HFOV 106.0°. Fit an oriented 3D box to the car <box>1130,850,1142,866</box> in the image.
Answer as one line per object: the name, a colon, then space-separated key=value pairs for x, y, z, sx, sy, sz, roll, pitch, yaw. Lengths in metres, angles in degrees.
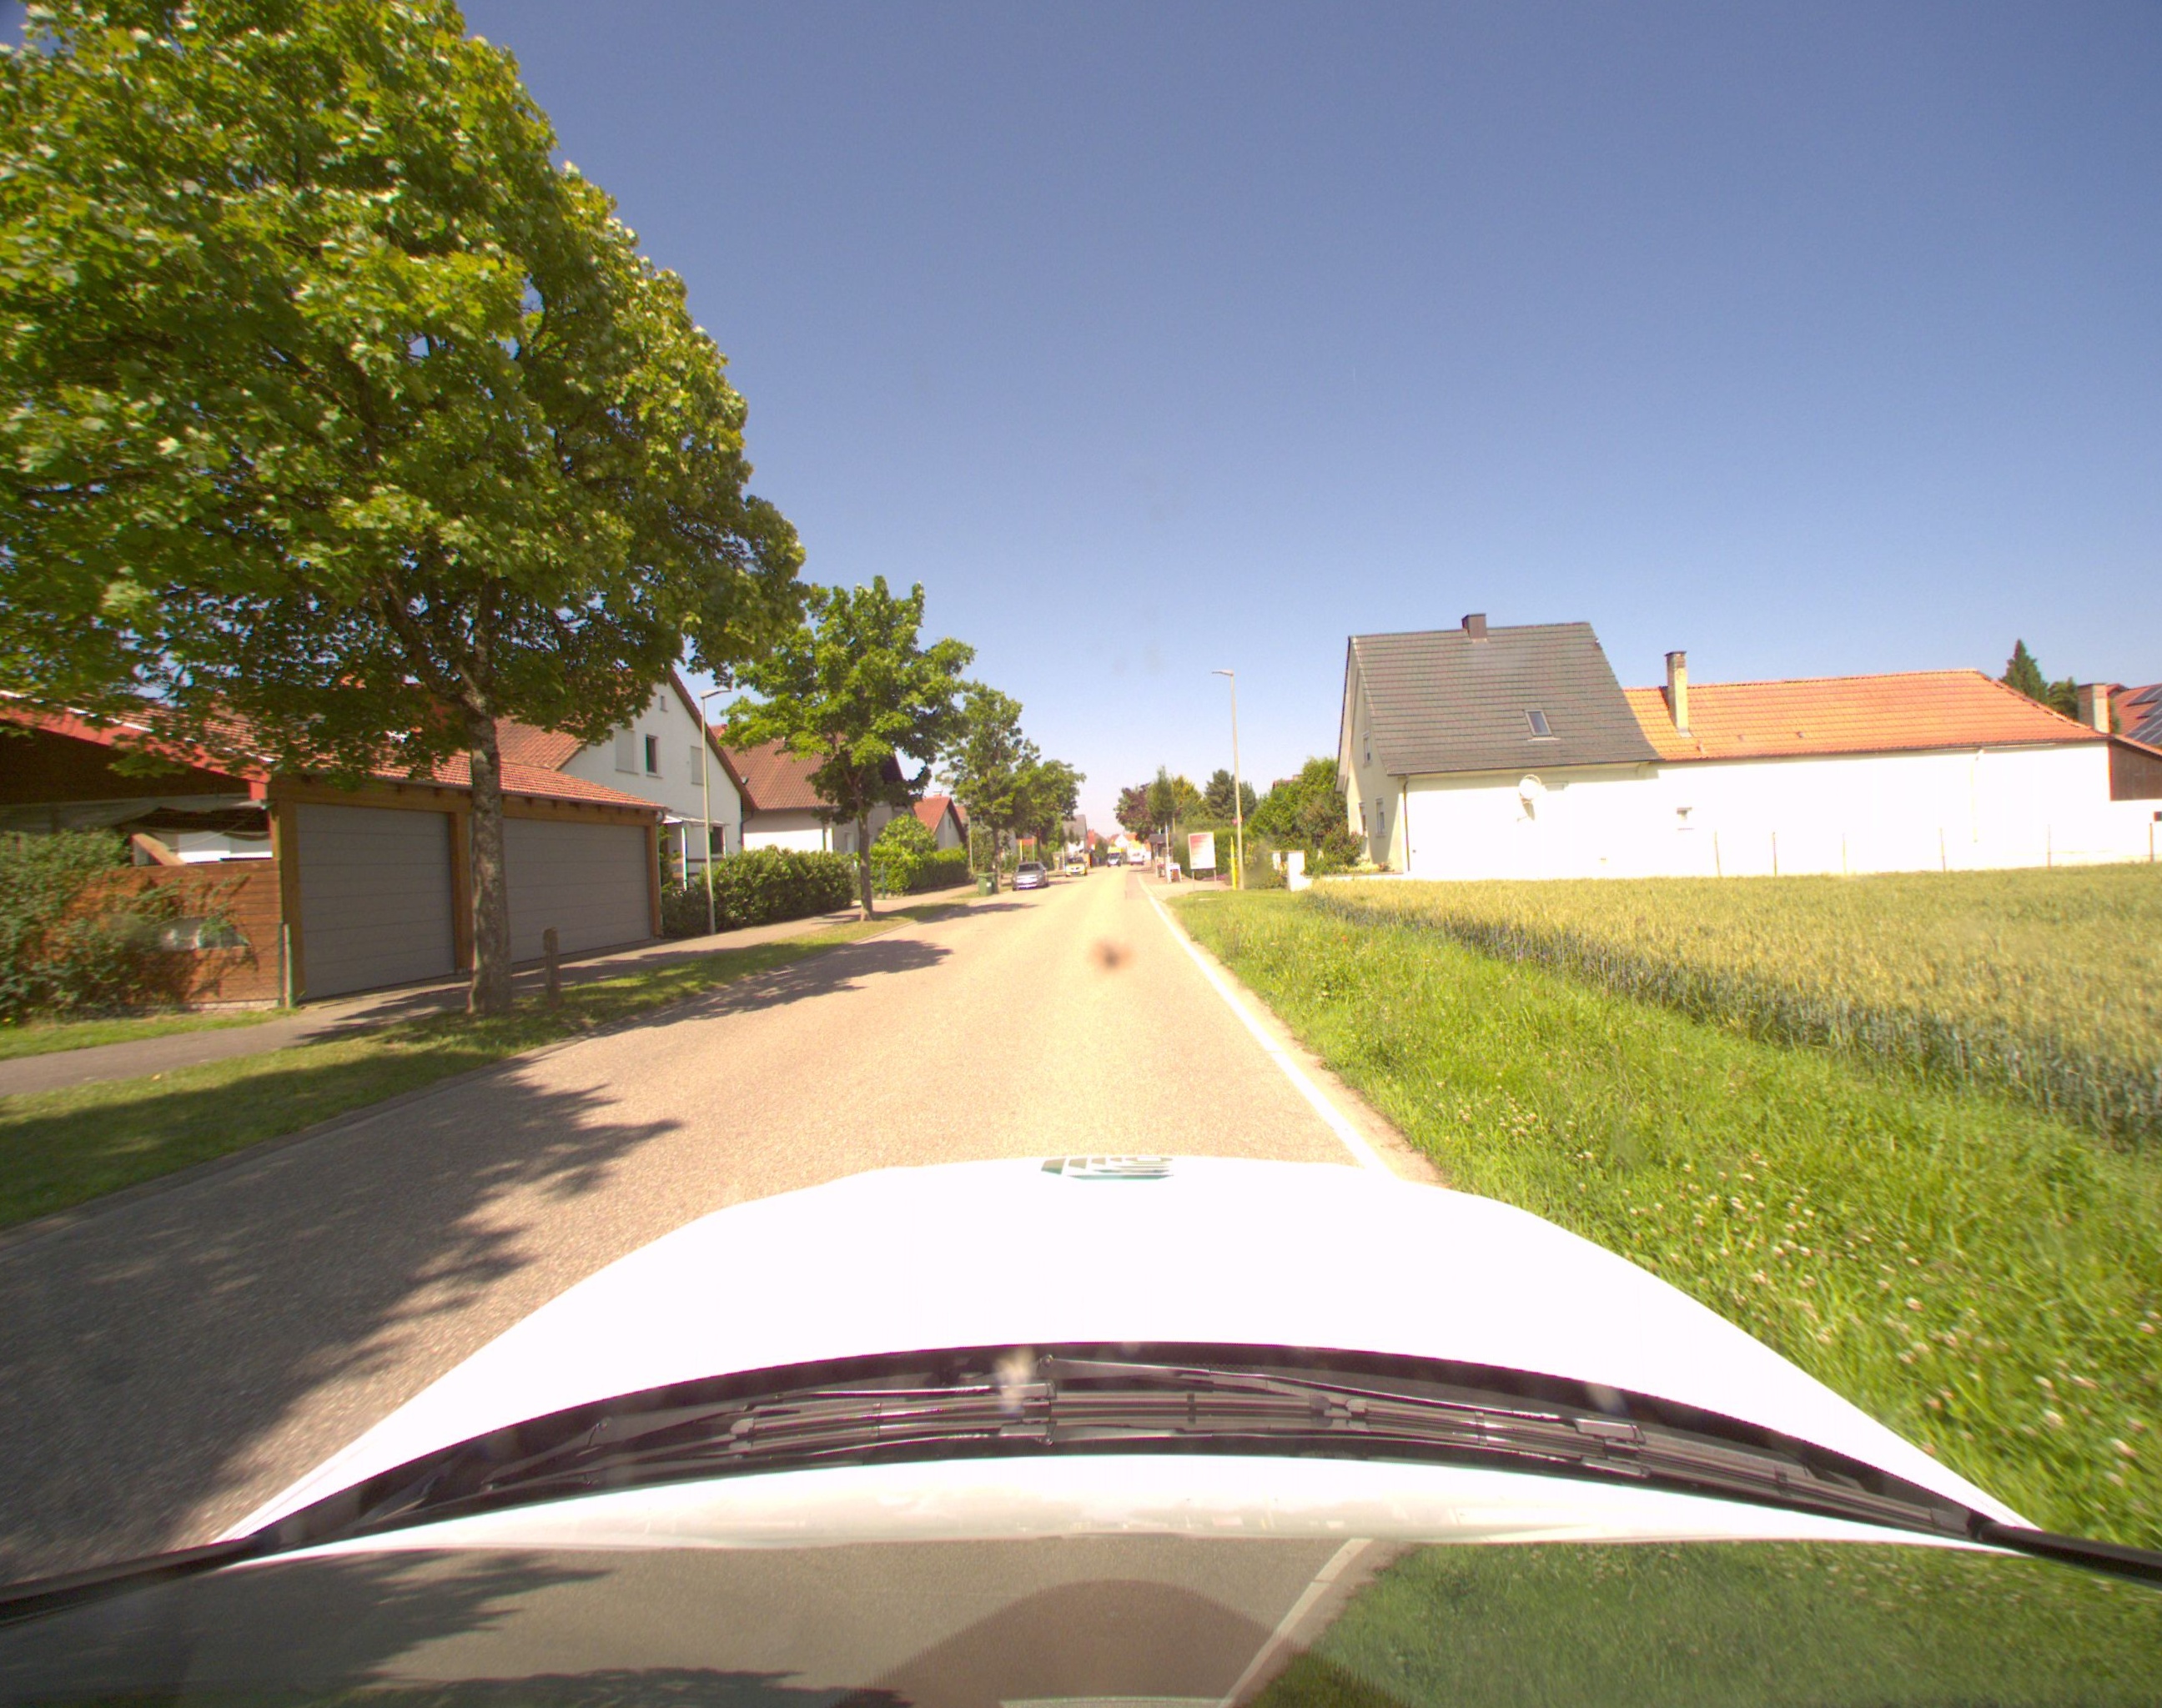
car: x=8.981 y=0.607 z=132.172 sx=1.730 sy=2.432 sz=4.379 roll=-3 pitch=0 yaw=4

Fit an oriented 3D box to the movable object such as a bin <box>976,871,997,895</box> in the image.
movable object such as a bin: x=-4.475 y=1.387 z=38.555 sx=0.706 sy=1.079 sz=0.643 roll=-3 pitch=-1 yaw=28

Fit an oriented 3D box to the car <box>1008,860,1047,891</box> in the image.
car: x=-2.839 y=1.129 z=43.967 sx=1.641 sy=1.423 sz=4.080 roll=-5 pitch=0 yaw=1

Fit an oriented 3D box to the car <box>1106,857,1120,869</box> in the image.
car: x=4.837 y=1.336 z=123.842 sx=1.829 sy=1.752 sz=3.796 roll=-3 pitch=0 yaw=1

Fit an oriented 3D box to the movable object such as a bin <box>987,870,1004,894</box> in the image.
movable object such as a bin: x=-4.109 y=1.346 z=39.196 sx=0.570 sy=1.079 sz=0.601 roll=-3 pitch=-1 yaw=15

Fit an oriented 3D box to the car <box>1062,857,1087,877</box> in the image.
car: x=-0.503 y=1.028 z=65.961 sx=1.659 sy=1.524 sz=3.445 roll=-4 pitch=0 yaw=3
